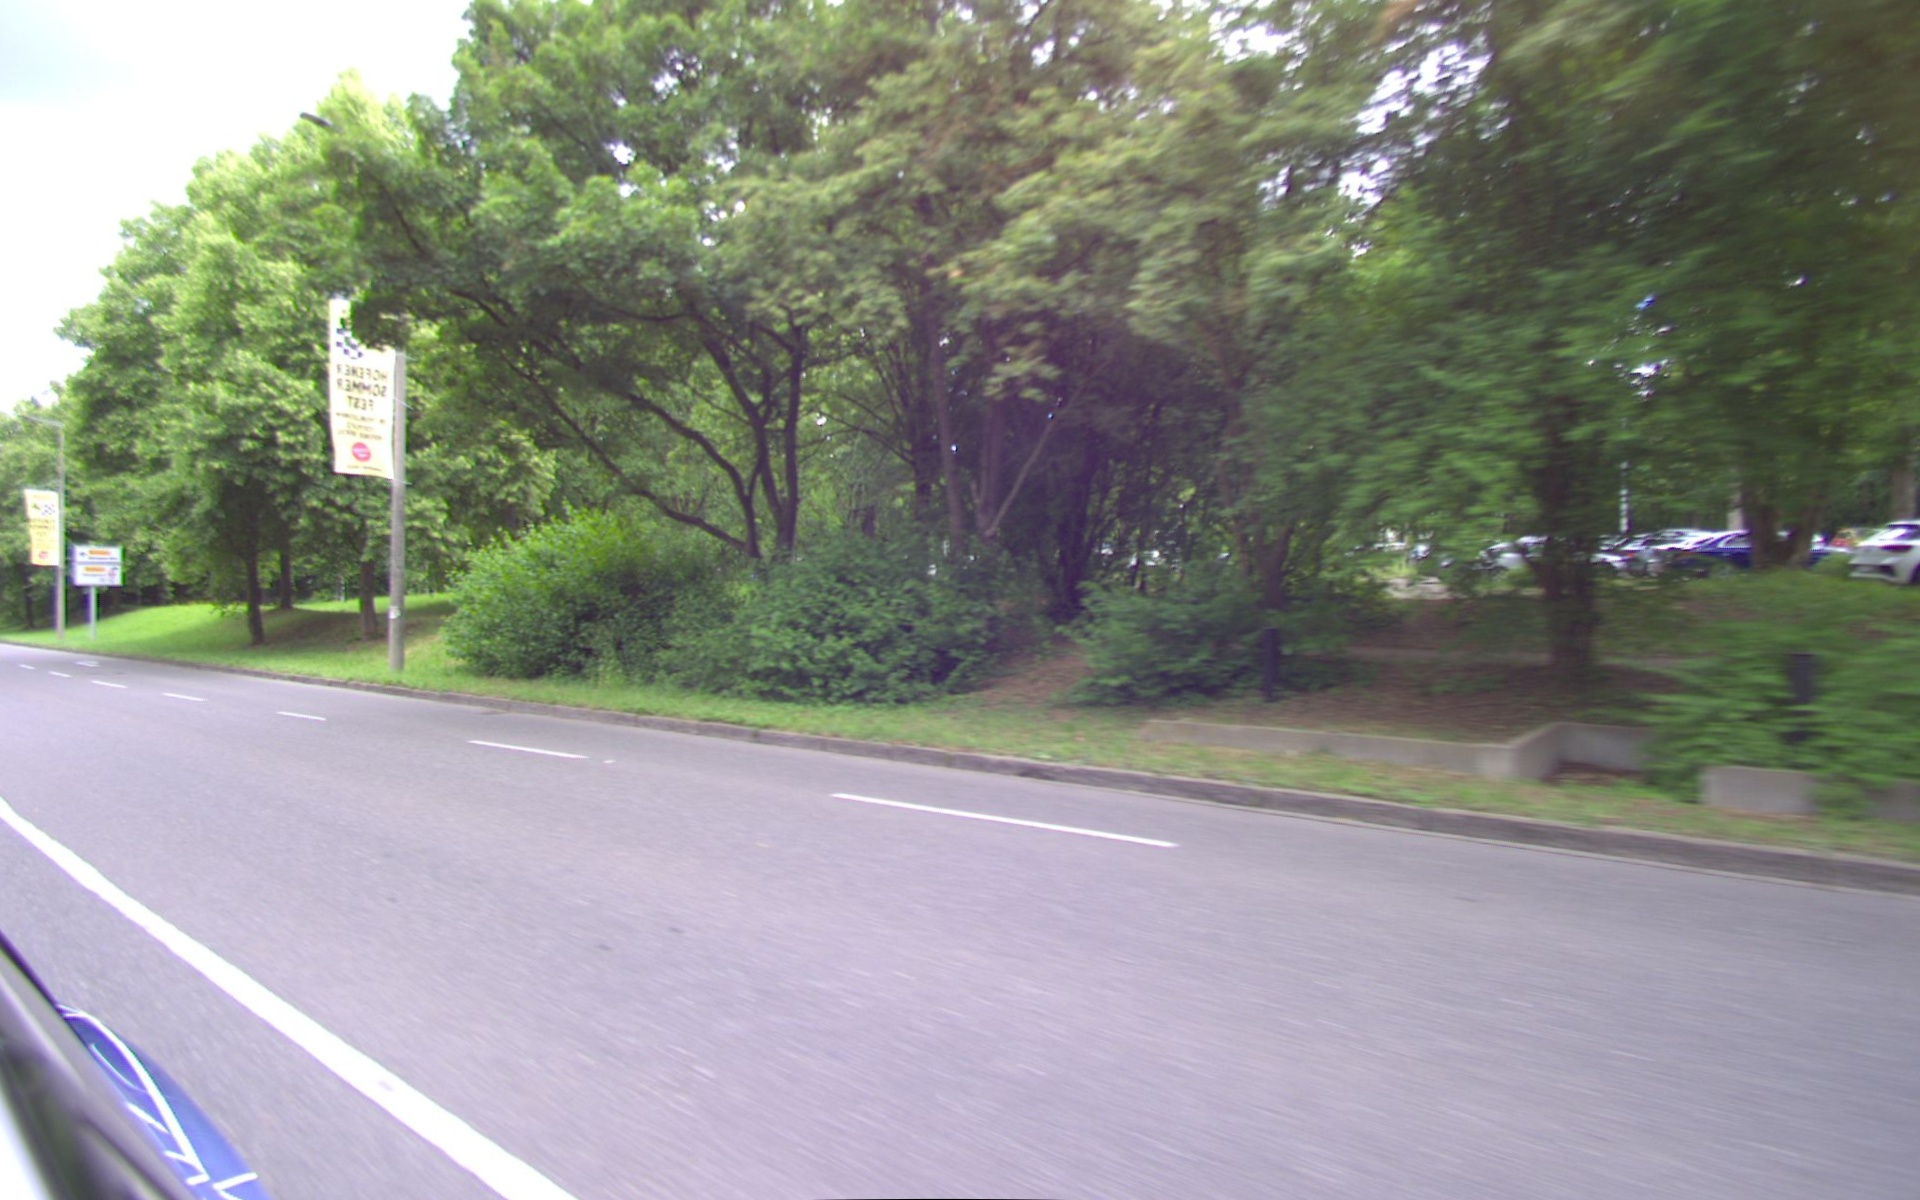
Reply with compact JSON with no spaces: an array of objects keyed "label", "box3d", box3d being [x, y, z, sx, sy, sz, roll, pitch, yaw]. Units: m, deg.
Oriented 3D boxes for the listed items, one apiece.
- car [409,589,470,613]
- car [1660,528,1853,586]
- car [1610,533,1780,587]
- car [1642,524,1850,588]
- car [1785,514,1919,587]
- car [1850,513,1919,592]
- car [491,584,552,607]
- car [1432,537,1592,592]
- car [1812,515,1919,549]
[{"label":"car","box3d":[-45.384,0.068,88.353,1.980,1.909,4.883,-1,0,14]},{"label":"car","box3d":[22.730,-1.195,29.037,3.966,1.497,1.642,-1,0,17]},{"label":"car","box3d":[23.086,-1.228,31.943,3.966,1.497,1.642,-1,0,17]},{"label":"car","box3d":[20.681,-1.123,26.800,3.966,1.497,1.642,-1,0,17]},{"label":"car","box3d":[20.902,-1.091,22.190,3.966,1.497,1.642,-1,0,17]},{"label":"car","box3d":[19.948,-0.953,19.396,3.966,1.497,1.642,-1,0,17]},{"label":"car","box3d":[-37.314,-0.409,86.282,2.298,1.909,4.883,-1,0,14]},{"label":"car","box3d":[16.649,-1.048,30.712,3.966,1.497,1.642,-1,0,17]},{"label":"car","box3d":[39.378,-2.932,44.154,1.886,1.219,3.965,-1,0,16]}]
